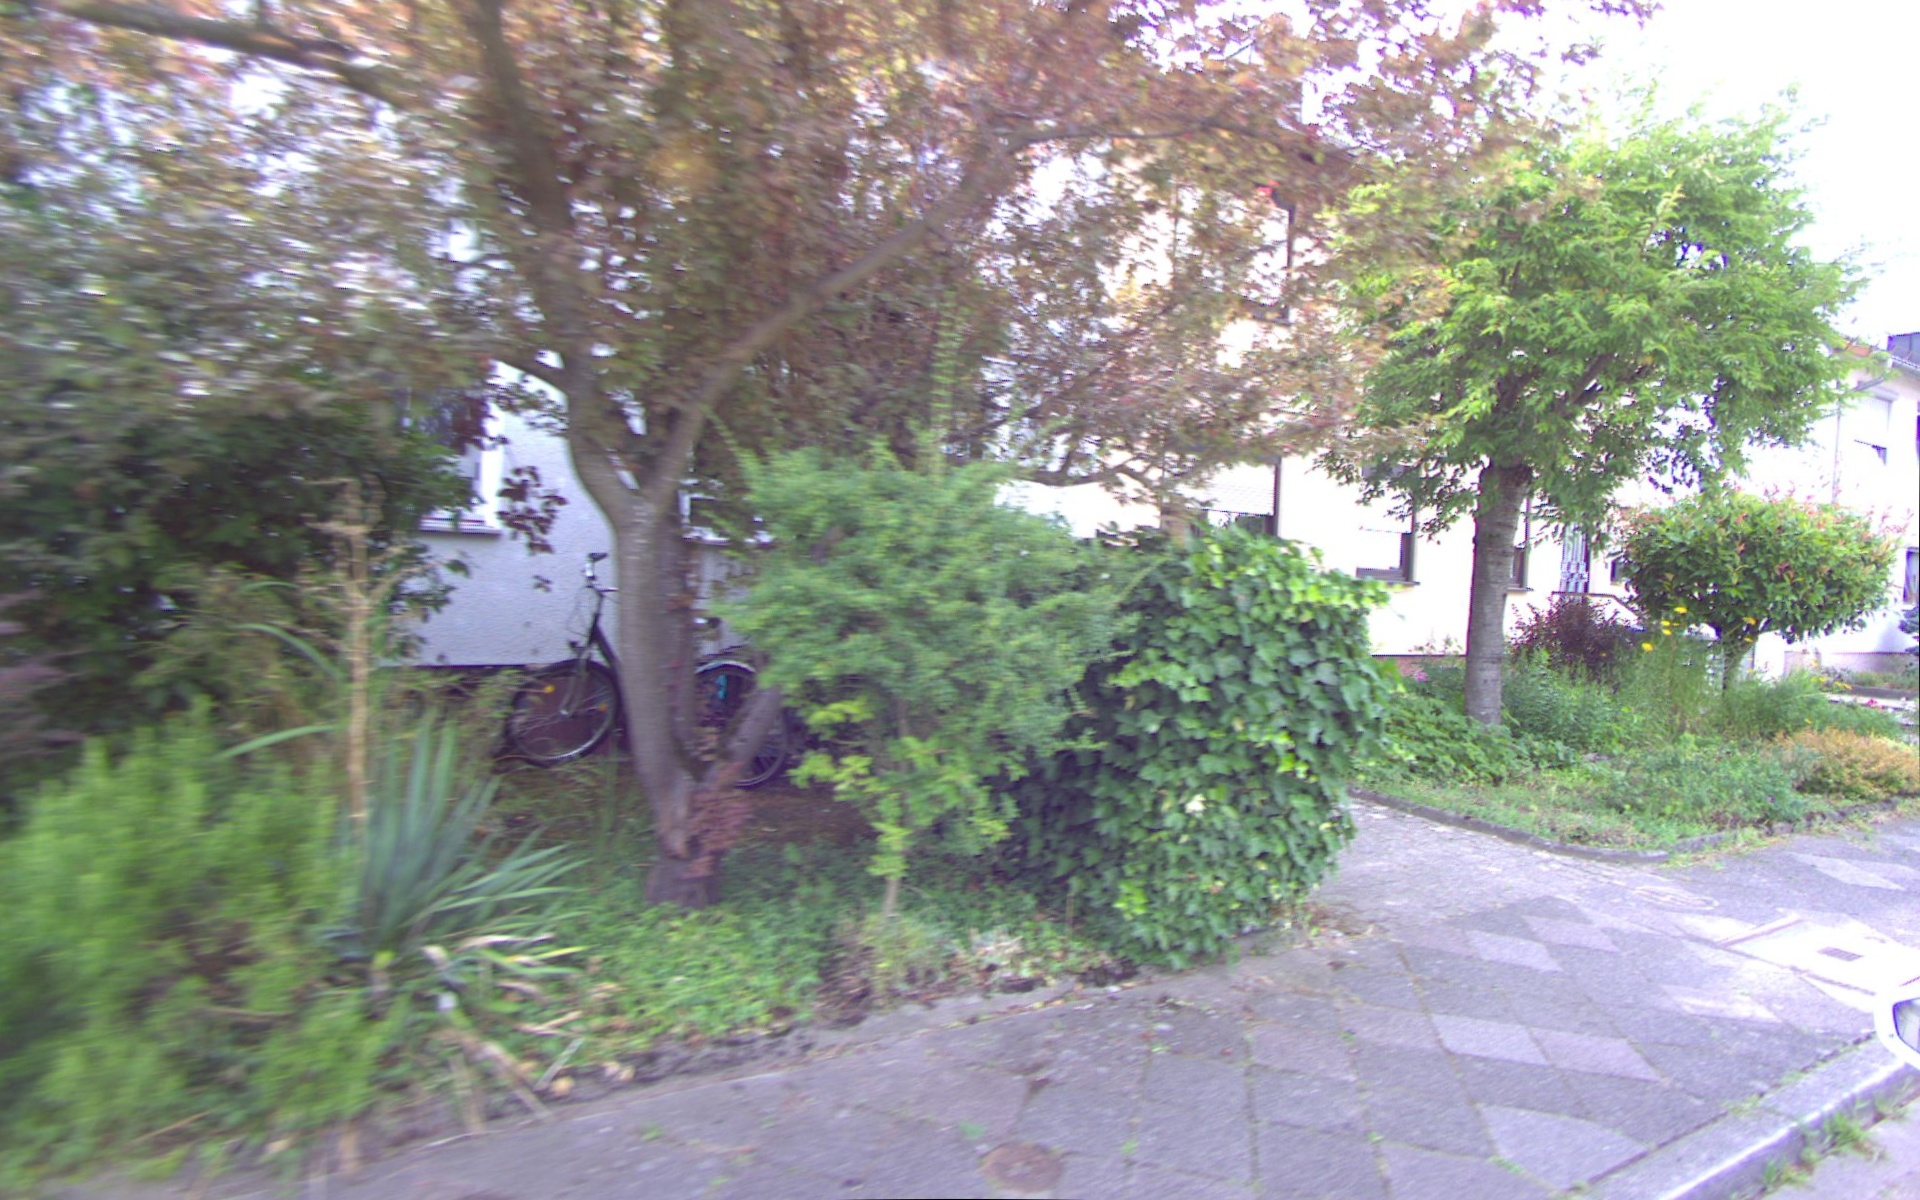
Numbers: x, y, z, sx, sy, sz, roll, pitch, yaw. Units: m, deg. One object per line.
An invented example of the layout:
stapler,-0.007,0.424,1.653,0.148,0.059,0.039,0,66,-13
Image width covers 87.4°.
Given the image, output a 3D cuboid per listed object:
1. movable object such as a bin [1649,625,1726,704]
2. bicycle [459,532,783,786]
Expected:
movable object such as a bin,9.825,0.860,13.572,0.535,1.016,0.649,1,1,-30
bicycle,-2.054,0.342,6.212,1.826,1.414,0.429,1,1,-30
